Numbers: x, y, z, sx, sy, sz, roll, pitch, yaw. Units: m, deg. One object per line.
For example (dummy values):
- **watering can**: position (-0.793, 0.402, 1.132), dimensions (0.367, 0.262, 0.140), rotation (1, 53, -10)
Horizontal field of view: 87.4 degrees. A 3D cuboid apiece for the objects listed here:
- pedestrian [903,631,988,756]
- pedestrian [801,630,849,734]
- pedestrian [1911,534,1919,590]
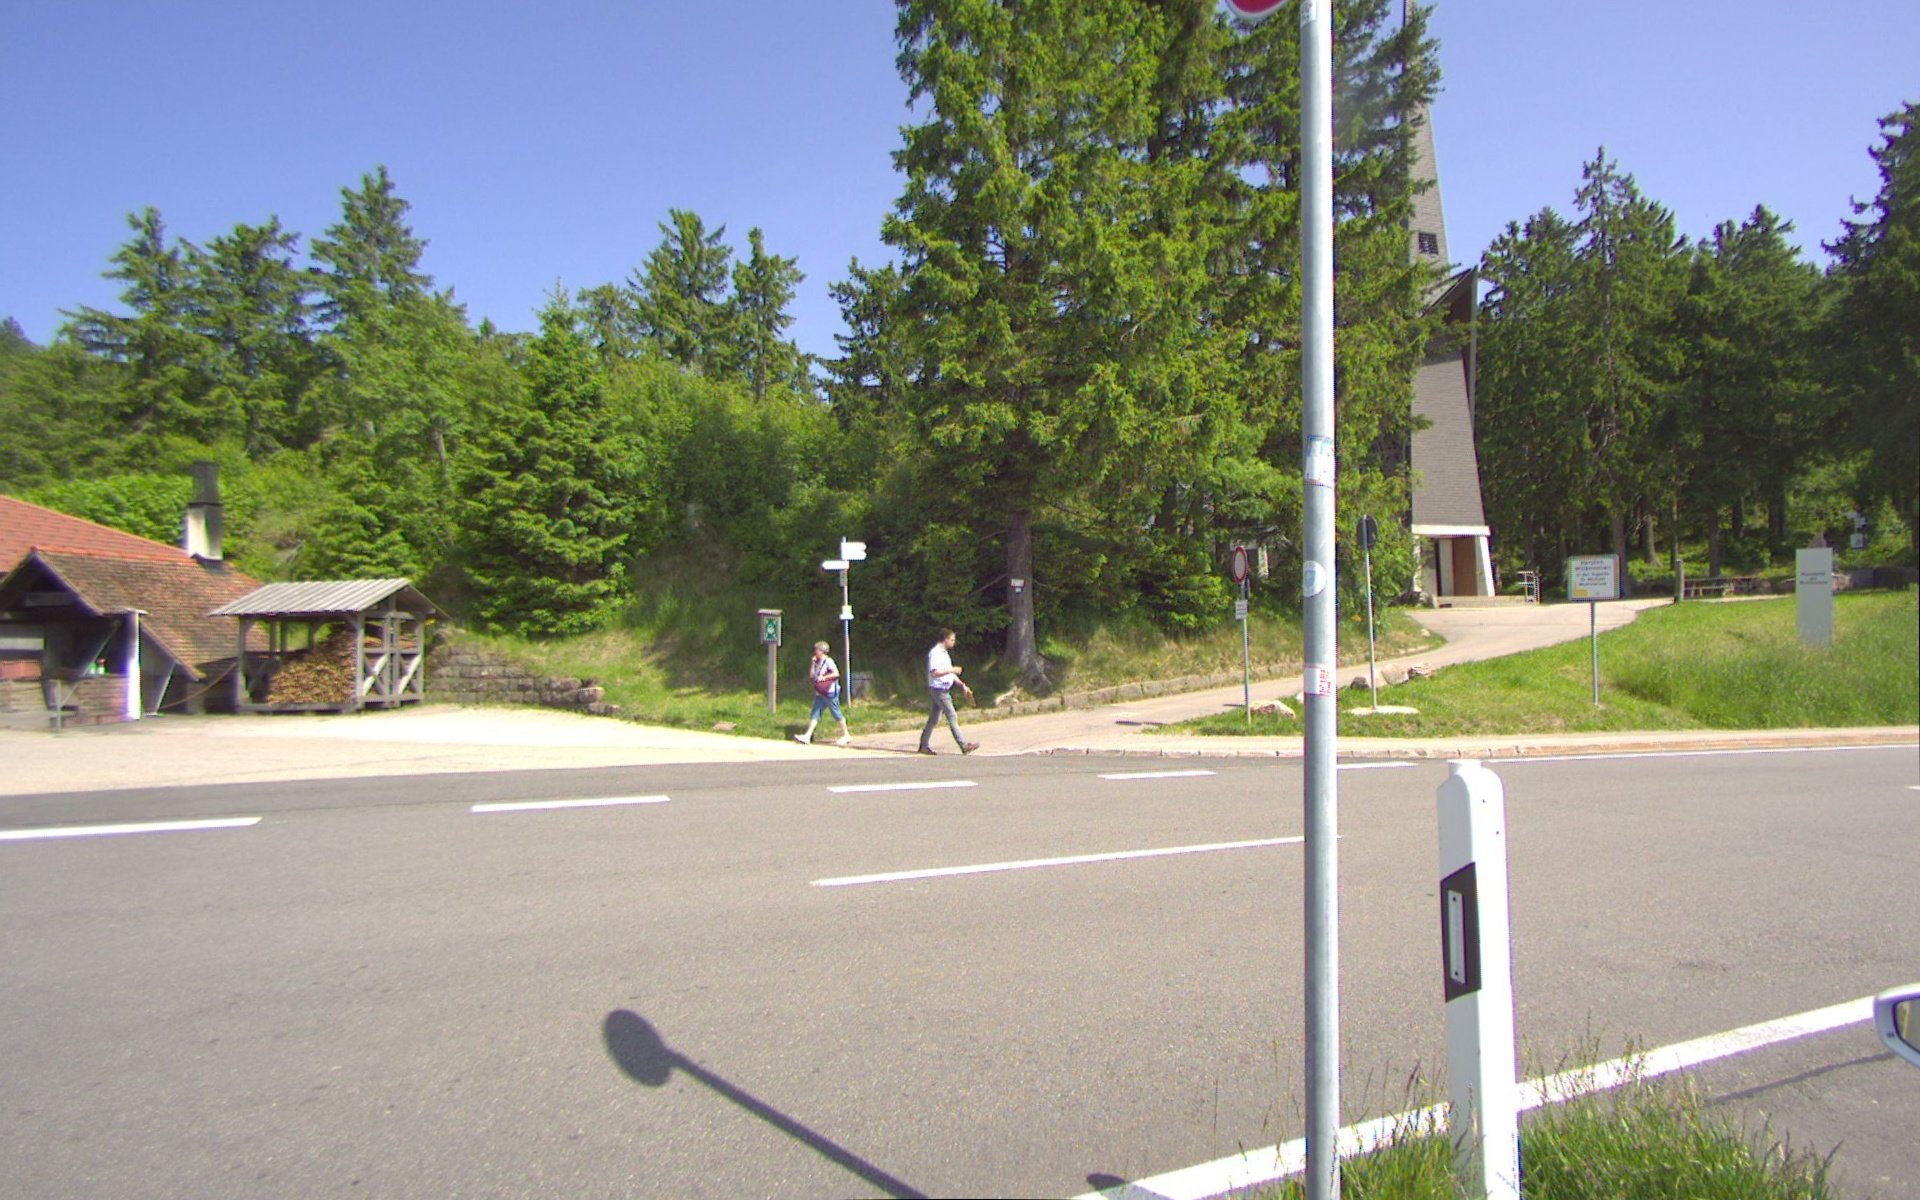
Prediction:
- **pedestrian**: position (-0.187, 1.313, 14.379), dimensions (1.139, 1.720, 0.980), rotation (0, -3, 4)
- **pedestrian**: position (-2.258, 1.356, 16.847), dimensions (0.669, 1.703, 0.722), rotation (0, -3, 2)
- **pedestrian**: position (33.698, -1.341, 35.029), dimensions (0.538, 1.902, 0.674), rotation (2, -3, -42)
